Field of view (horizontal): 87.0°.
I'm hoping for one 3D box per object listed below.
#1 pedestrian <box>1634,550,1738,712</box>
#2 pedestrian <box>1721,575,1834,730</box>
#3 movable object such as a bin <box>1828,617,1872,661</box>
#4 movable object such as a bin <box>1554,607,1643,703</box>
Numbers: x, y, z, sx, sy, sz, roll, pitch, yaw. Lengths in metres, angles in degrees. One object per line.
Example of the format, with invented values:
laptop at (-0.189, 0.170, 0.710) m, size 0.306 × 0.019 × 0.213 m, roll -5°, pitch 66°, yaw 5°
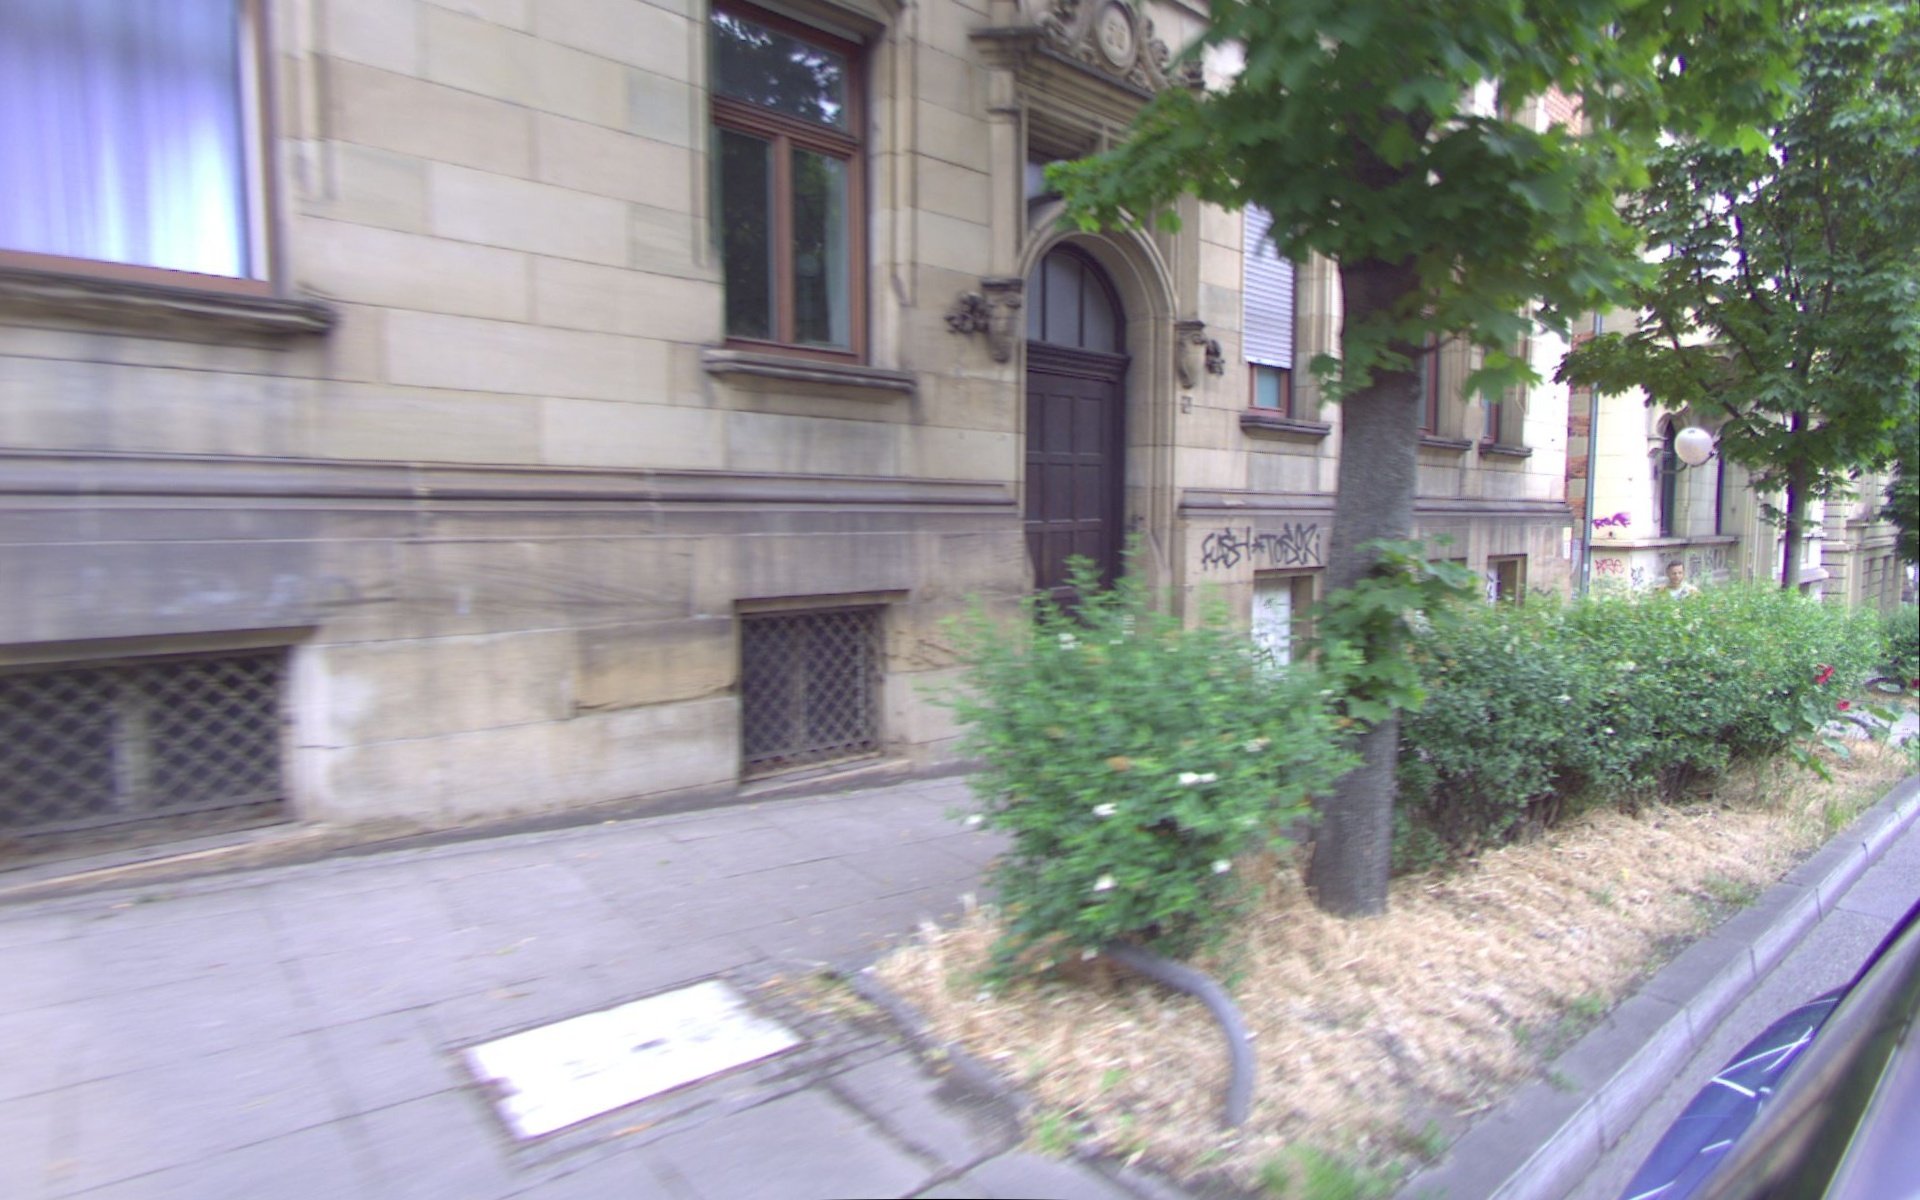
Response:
pedestrian at (8.841, 0.333, 12.321) m, size 1.102 × 1.851 × 0.687 m, roll -2°, pitch 5°, yaw -41°
pedestrian at (9.220, 0.543, 11.408) m, size 1.195 × 1.592 × 0.687 m, roll -2°, pitch 5°, yaw -41°
movable object such as a bin at (20.250, 0.871, 23.021) m, size 0.484 × 0.930 × 0.614 m, roll 1°, pitch 4°, yaw -38°
movable object such as a bin at (7.468, 0.637, 11.842) m, size 0.572 × 1.028 × 0.672 m, roll 3°, pitch 2°, yaw -43°
